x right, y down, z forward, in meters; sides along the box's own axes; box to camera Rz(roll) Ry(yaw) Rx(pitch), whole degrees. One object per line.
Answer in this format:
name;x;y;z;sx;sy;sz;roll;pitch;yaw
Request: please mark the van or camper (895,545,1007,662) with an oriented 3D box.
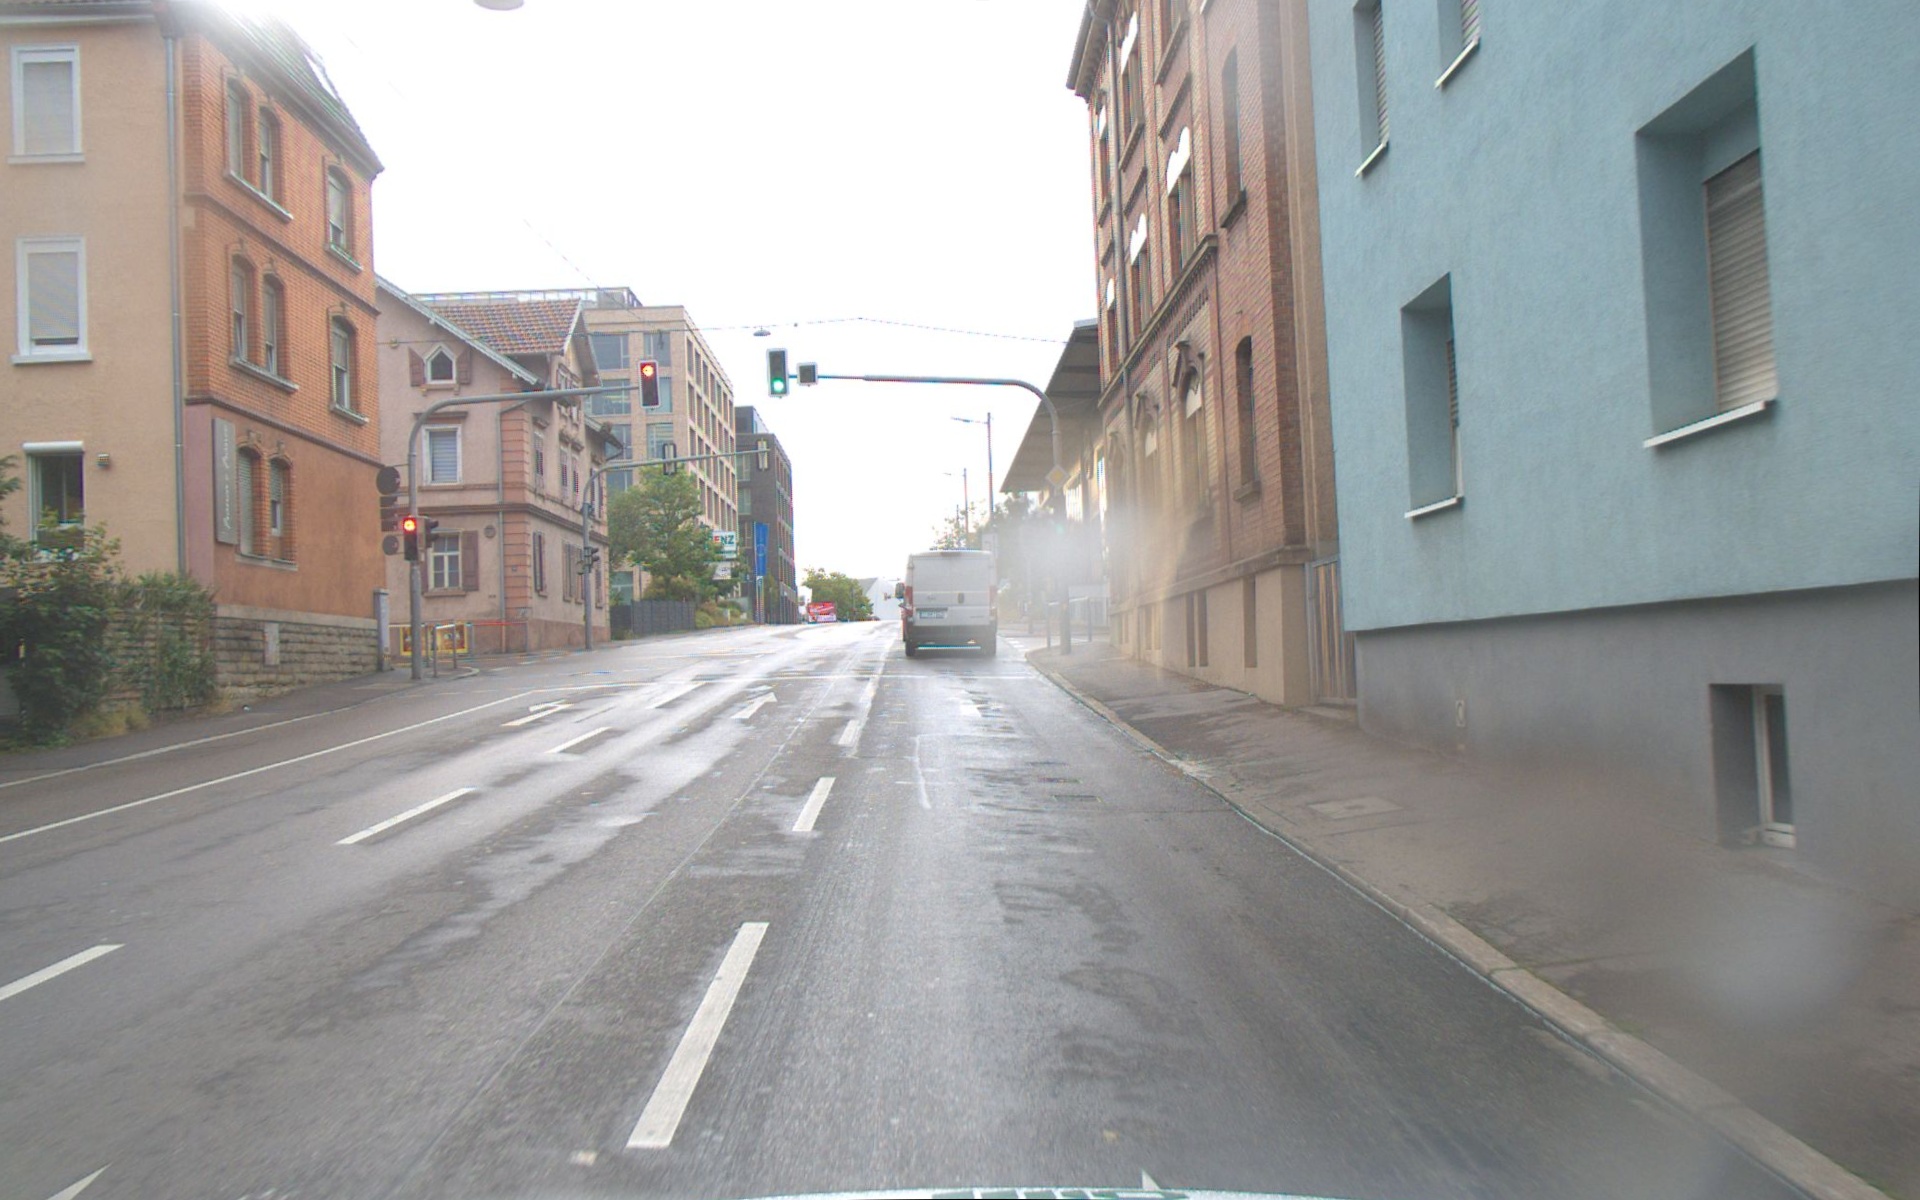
van or camper;-0.221;0.093;37.382;2.292;2.398;5.198;-2;-1;-1
